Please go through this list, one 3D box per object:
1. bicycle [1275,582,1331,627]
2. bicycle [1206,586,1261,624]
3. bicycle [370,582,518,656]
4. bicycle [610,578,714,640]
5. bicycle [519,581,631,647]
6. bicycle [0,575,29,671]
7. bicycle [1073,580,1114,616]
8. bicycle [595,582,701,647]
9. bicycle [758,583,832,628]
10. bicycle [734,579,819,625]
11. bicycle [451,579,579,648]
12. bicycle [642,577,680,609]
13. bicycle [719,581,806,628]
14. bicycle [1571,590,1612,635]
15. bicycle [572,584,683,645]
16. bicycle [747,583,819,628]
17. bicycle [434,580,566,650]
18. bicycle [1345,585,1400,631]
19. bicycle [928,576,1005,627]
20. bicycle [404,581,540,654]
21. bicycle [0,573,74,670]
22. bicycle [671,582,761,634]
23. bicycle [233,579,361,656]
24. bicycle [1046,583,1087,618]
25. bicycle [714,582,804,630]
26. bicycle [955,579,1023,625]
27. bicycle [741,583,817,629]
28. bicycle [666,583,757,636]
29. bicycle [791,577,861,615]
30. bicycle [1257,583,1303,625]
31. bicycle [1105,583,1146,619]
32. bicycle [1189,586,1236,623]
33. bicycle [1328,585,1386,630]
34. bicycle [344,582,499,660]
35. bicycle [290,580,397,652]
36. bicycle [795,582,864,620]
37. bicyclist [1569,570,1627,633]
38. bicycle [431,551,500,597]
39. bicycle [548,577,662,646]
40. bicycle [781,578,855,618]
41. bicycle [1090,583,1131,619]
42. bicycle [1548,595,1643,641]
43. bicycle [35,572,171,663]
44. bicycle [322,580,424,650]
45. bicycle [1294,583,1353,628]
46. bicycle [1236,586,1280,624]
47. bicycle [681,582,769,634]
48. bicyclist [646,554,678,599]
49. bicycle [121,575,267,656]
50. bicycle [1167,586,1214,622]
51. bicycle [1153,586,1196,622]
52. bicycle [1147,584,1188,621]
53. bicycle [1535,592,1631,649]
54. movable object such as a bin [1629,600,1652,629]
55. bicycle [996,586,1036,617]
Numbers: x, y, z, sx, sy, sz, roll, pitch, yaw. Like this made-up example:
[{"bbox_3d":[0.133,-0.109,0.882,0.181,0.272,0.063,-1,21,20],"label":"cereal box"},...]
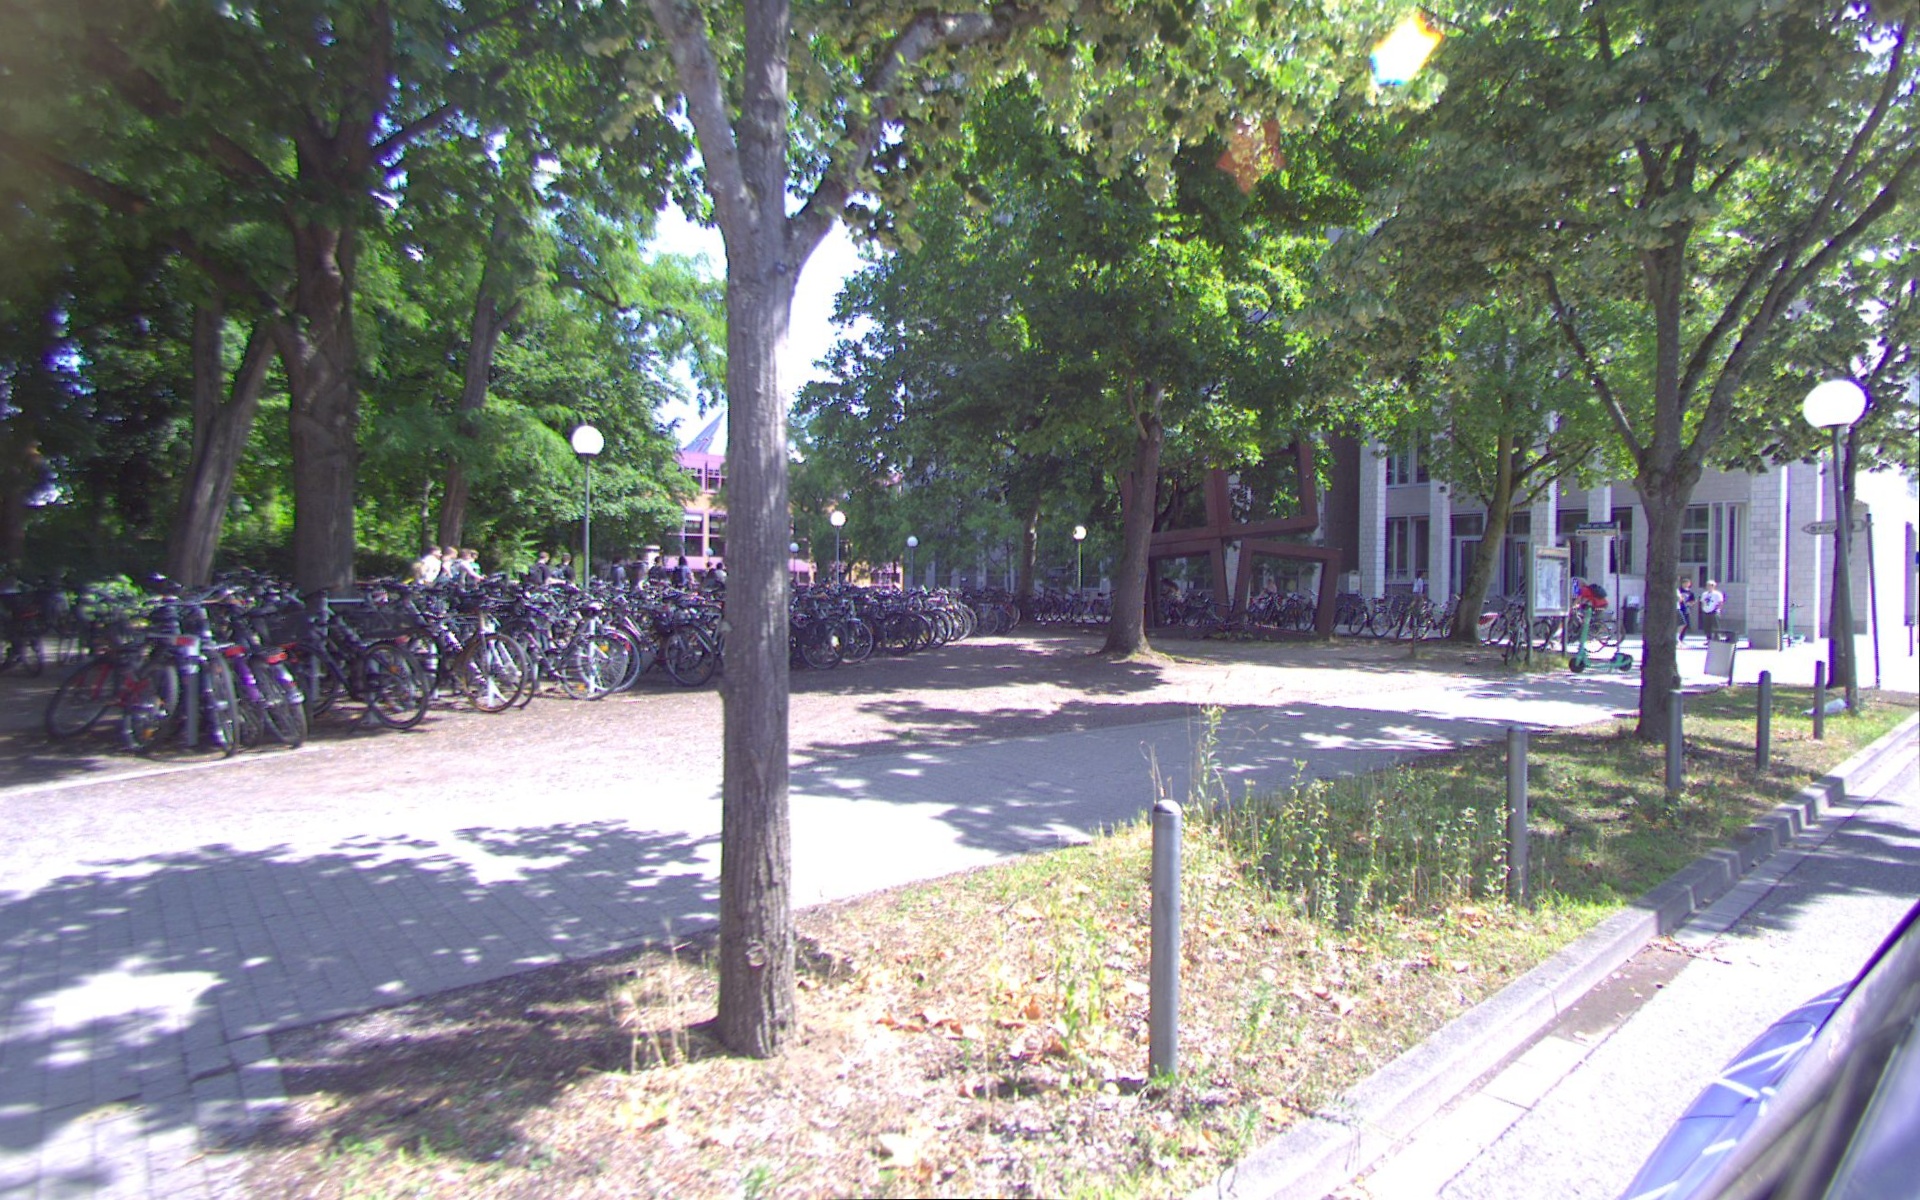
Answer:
[{"bbox_3d":[9.521,0.131,28.069,1.666,1.165,0.627,2,1,-40],"label":"bicycle"},{"bbox_3d":[8.007,0.156,29.604,1.663,1.061,0.618,1,-2,-33],"label":"bicycle"},{"bbox_3d":[-7.321,0.263,14.383,1.868,0.991,0.478,1,1,1],"label":"bicycle"},{"bbox_3d":[-5.632,0.153,19.124,1.875,1.096,0.477,2,2,14],"label":"bicycle"},{"bbox_3d":[-6.352,0.218,16.684,1.880,0.991,0.476,2,2,20],"label":"bicycle"},{"bbox_3d":[-10.859,0.216,10.988,1.885,0.991,0.474,2,2,27],"label":"bicycle"},{"bbox_3d":[4.439,-0.046,33.496,0.453,1.144,1.661,-2,-2,44],"label":"bicycle"},{"bbox_3d":[-5.721,0.250,18.538,1.875,1.096,0.477,2,2,14],"label":"bicycle"},{"bbox_3d":[-4.034,0.124,24.794,1.714,1.035,0.477,2,2,9],"label":"bicycle"},{"bbox_3d":[-4.238,0.045,23.402,1.868,0.991,0.378,1,1,1],"label":"bicycle"},{"bbox_3d":[-6.982,0.200,15.888,1.872,0.991,0.478,2,2,8],"label":"bicycle"},{"bbox_3d":[-9.859,-0.244,33.419,0.576,0.942,1.750,3,3,6],"label":"bicycle"},{"bbox_3d":[-4.397,0.104,22.568,1.867,0.991,0.379,1,1,0],"label":"bicycle"},{"bbox_3d":[18.475,0.355,29.576,1.798,1.257,0.531,-1,2,-42],"label":"bicycle"},{"bbox_3d":[-5.889,0.243,17.950,1.873,0.991,0.477,2,2,11],"label":"bicycle"},{"bbox_3d":[-4.297,0.121,24.536,1.714,1.035,0.292,2,1,9],"label":"bicycle"},{"bbox_3d":[-7.036,0.216,15.491,1.872,0.991,0.478,2,2,8],"label":"bicycle"},{"bbox_3d":[10.781,0.227,26.447,1.664,1.139,0.482,2,1,-36],"label":"bicycle"},{"bbox_3d":[0.155,0.017,24.570,1.816,1.185,0.412,1,1,11],"label":"bicycle"},{"bbox_3d":[-7.222,0.246,14.988,1.872,0.991,0.477,2,2,9],"label":"bicycle"},{"bbox_3d":[-10.659,0.208,11.304,1.885,0.991,0.474,2,2,27],"label":"bicycle"},{"bbox_3d":[-5.024,0.149,20.813,1.880,0.991,0.376,2,2,20],"label":"bicycle"},{"bbox_3d":[-9.357,0.221,14.274,1.880,0.991,0.476,2,2,20],"label":"bicycle"},{"bbox_3d":[3.613,0.030,34.251,0.453,1.144,1.661,-2,-2,44],"label":"bicycle"},{"bbox_3d":[-4.384,0.126,22.118,1.867,0.991,0.379,1,1,0],"label":"bicycle"},{"bbox_3d":[0.793,0.051,27.670,1.818,1.185,0.434,1,1,15],"label":"bicycle"},{"bbox_3d":[-4.309,0.136,24.161,1.714,1.035,0.477,2,2,9],"label":"bicycle"},{"bbox_3d":[-5.017,0.173,20.370,1.880,0.991,0.376,2,2,20],"label":"bicycle"},{"bbox_3d":[-3.713,-0.109,28.127,1.868,0.991,0.479,1,1,0],"label":"bicycle"},{"bbox_3d":[9.041,0.131,28.553,0.625,1.165,1.671,-2,-2,40],"label":"bicycle"},{"bbox_3d":[5.363,0.038,32.776,0.453,1.144,1.661,-2,-2,44],"label":"bicycle"},{"bbox_3d":[7.520,0.142,30.157,0.615,1.061,1.661,-2,-2,44],"label":"bicycle"},{"bbox_3d":[10.574,0.199,26.936,1.664,1.139,0.566,2,1,-36],"label":"bicycle"},{"bbox_3d":[-7.332,0.283,13.807,1.868,0.991,0.478,1,1,1],"label":"bicycle"},{"bbox_3d":[-9.335,0.213,15.300,1.885,0.991,0.438,2,2,26],"label":"bicycle"},{"bbox_3d":[-3.683,0.026,28.665,1.868,0.991,0.479,1,1,0],"label":"bicycle"},{"bbox_3d":[16.485,0.028,26.144,0.822,1.562,0.960,3,0,-34],"label":"bicyclist"},{"bbox_3d":[-12.226,-0.646,25.019,1.586,1.107,0.477,2,2,12],"label":"bicycle"},{"bbox_3d":[-6.041,0.175,17.212,1.875,1.096,0.477,2,2,14],"label":"bicycle"},{"bbox_3d":[-3.769,-0.050,26.896,1.874,0.991,0.477,2,2,12],"label":"bicycle"},{"bbox_3d":[4.946,0.049,33.186,0.453,1.144,1.661,-2,-2,44],"label":"bicycle"},{"bbox_3d":[16.409,0.440,26.184,0.803,1.054,1.933,-4,3,-32],"label":"bicycle"},{"bbox_3d":[-10.404,0.179,12.268,1.886,0.991,0.607,2,2,28],"label":"bicycle"},{"bbox_3d":[-9.153,0.218,15.763,1.863,0.991,0.304,2,2,23],"label":"bicycle"},{"bbox_3d":[9.841,0.154,27.406,1.664,1.139,0.628,2,1,-36],"label":"bicycle"},{"bbox_3d":[8.560,0.145,29.011,0.566,1.061,1.671,-2,-2,41],"label":"bicycle"},{"bbox_3d":[-4.913,0.155,21.125,1.880,0.991,0.376,2,2,20],"label":"bicycle"},{"bbox_3d":[-9.825,-0.779,33.365,0.732,1.464,0.802,1,0,6],"label":"bicyclist"},{"bbox_3d":[-10.227,0.184,13.513,1.877,0.991,0.534,2,2,16],"label":"bicycle"},{"bbox_3d":[6.997,0.141,30.651,0.615,1.061,1.661,-2,-2,44],"label":"bicycle"},{"bbox_3d":[6.590,0.133,31.066,0.499,1.061,1.661,-2,-2,44],"label":"bicycle"},{"bbox_3d":[6.527,0.101,31.812,0.453,1.144,1.661,-2,-2,44],"label":"bicycle"},{"bbox_3d":[13.526,0.445,21.988,1.749,1.155,0.607,1,2,-8],"label":"bicycle"},{"bbox_3d":[23.370,0.504,34.756,0.503,0.961,0.512,1,3,-43],"label":"movable object such as a bin"},{"bbox_3d":[2.035,0.065,36.519,0.477,1.098,1.661,-2,-2,44],"label":"bicycle"}]
